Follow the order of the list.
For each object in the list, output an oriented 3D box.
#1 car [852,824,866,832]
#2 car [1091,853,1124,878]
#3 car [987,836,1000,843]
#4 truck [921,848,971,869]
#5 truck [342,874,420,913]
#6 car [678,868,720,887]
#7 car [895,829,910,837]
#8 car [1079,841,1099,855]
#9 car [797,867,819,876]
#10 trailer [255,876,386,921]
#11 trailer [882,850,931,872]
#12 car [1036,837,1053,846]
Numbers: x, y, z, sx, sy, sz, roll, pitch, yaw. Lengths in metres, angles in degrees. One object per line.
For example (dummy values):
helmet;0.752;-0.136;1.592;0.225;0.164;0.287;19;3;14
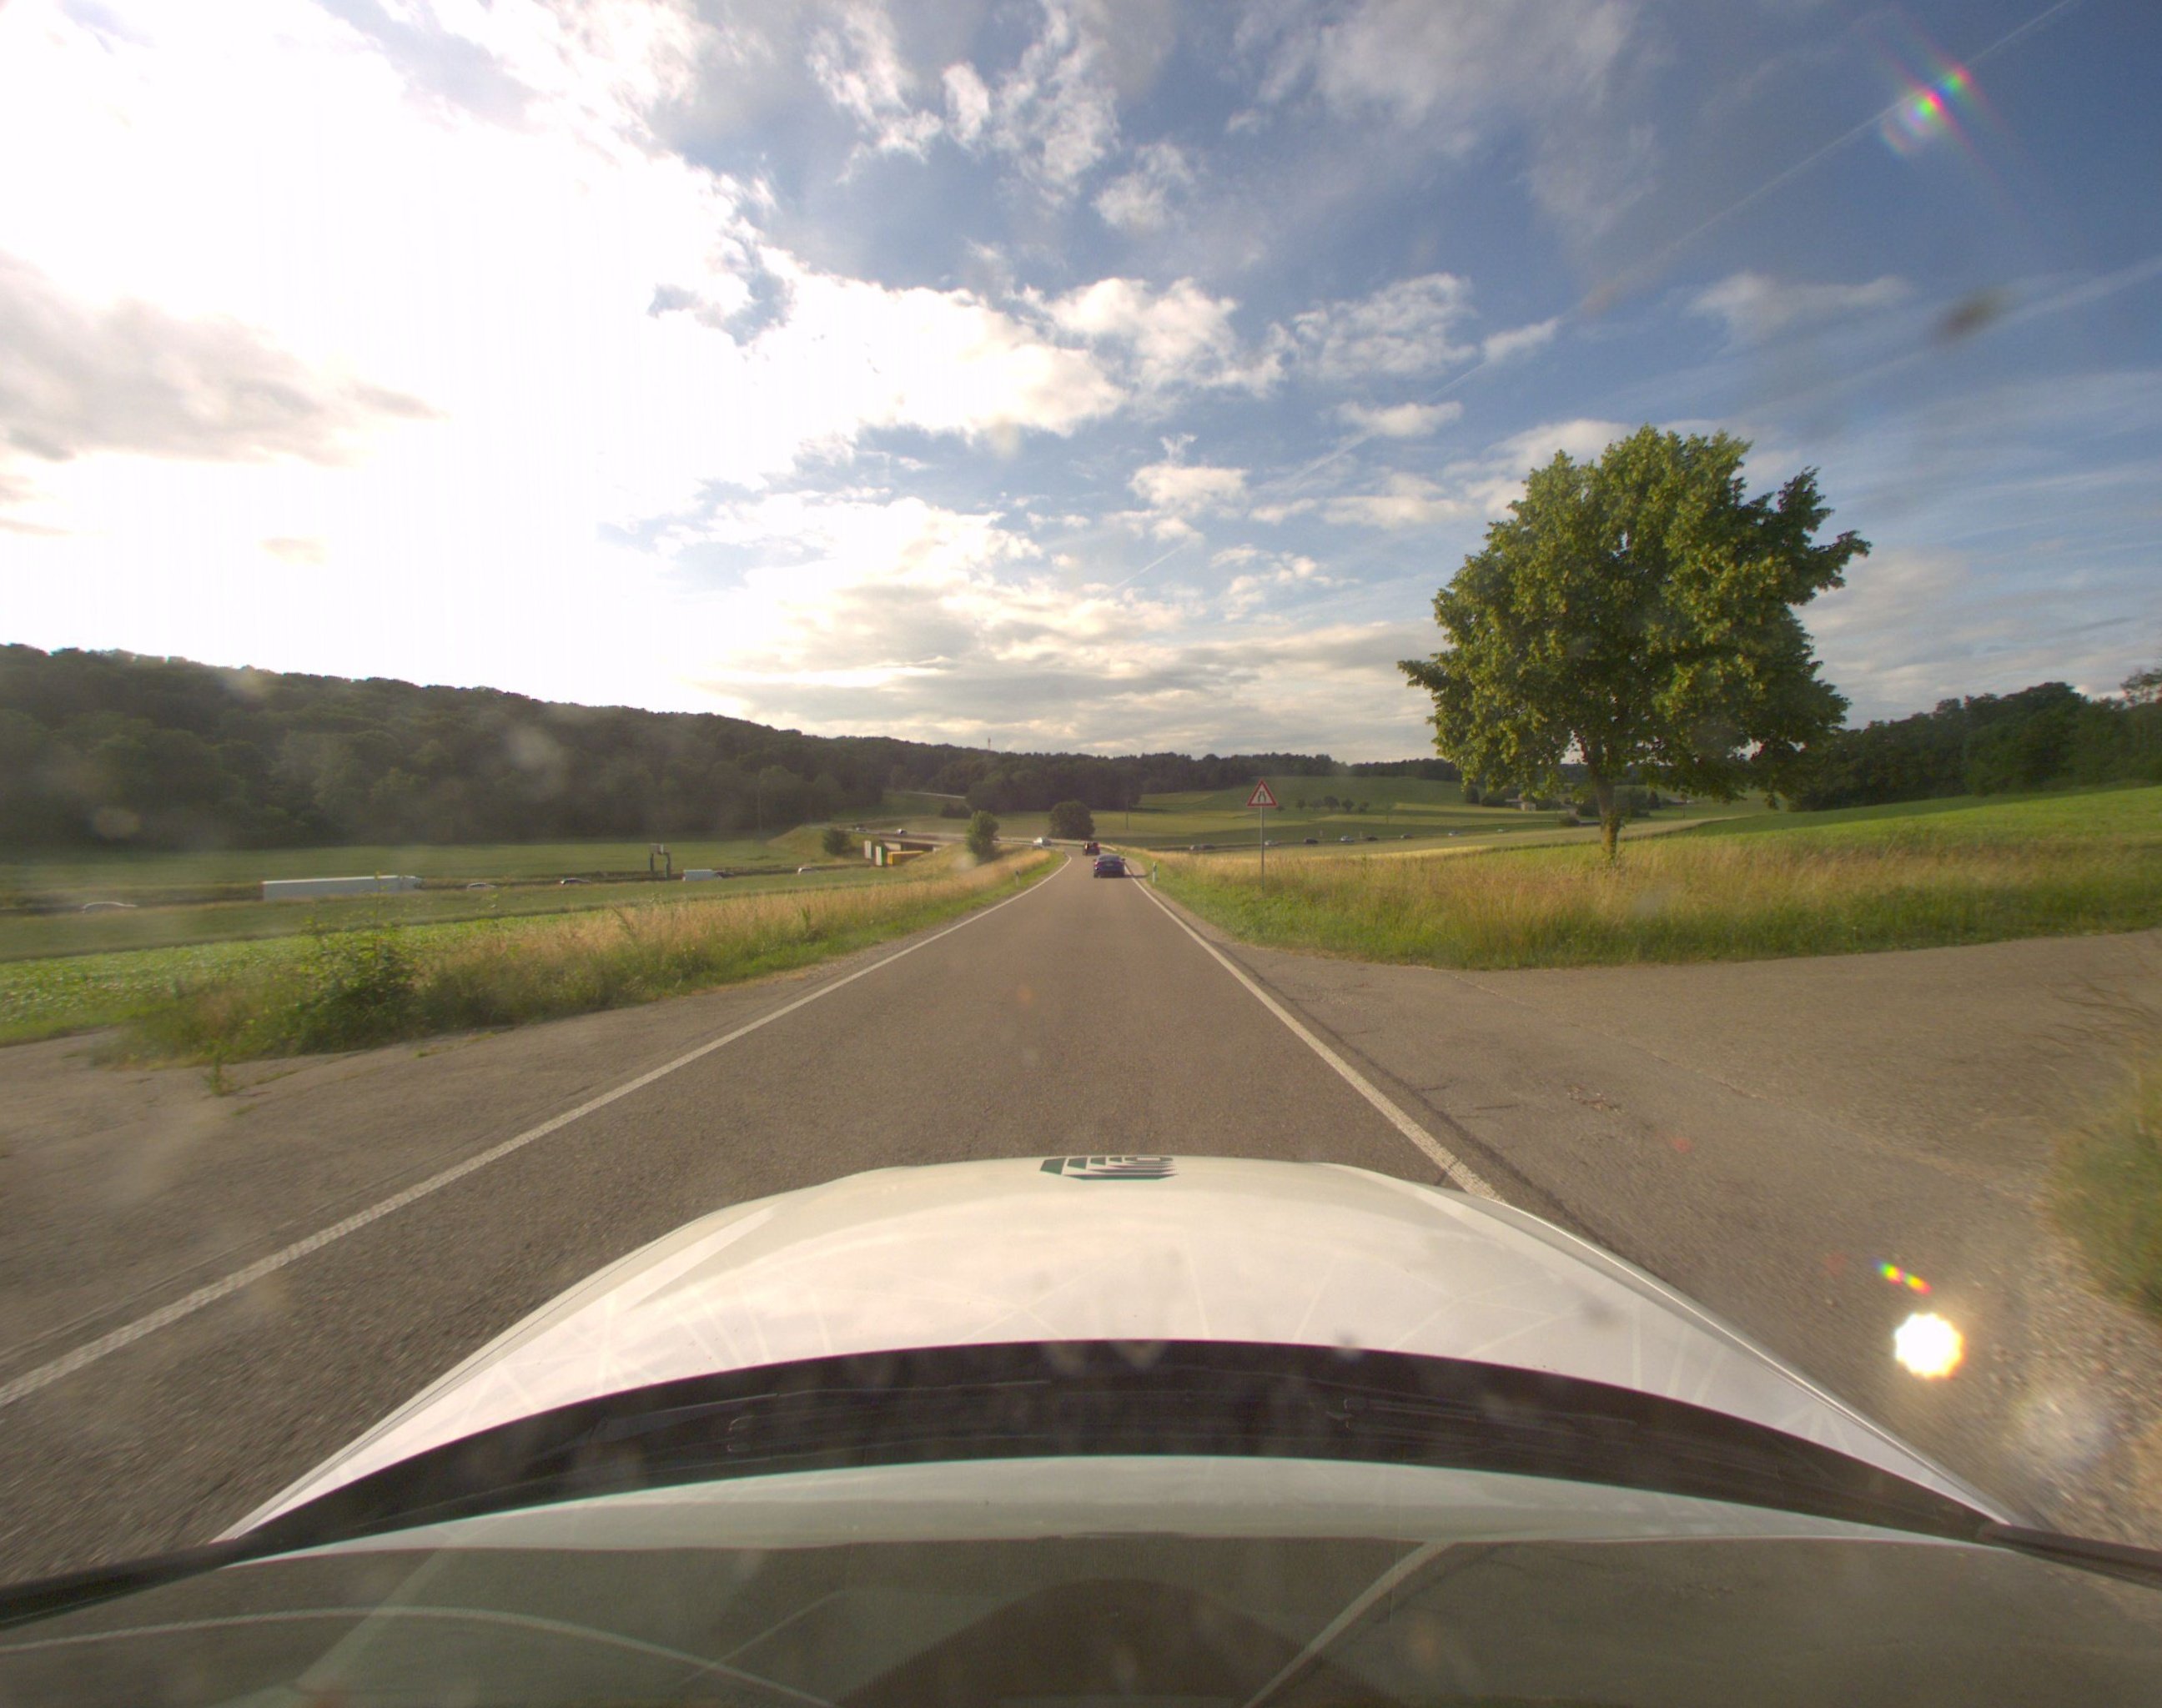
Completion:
car;-56.831;-6.715;208.520;2.009;1.771;3.956;-5;4;-36
car;1.591;0.650;48.775;1.812;1.339;4.352;-3;0;2
car;-16.464;-2.768;152.890;1.479;1.227;3.272;-3;3;-26
truck;-28.756;0.937;174.240;9.853;4.059;3.793;-3;2;-40
truck;-99.697;5.537;116.103;8.103;4.465;2.994;-5;8;-43
car;-67.462;4.104;143.865;6.158;2.582;2.346;-6;10;-42
car;-41.065;-4.935;187.511;2.008;1.678;4.134;1;3;-35
car;0.959;-0.675;97.898;1.860;1.568;3.991;-3;1;-7
car;-52.765;3.383;157.517;3.637;1.633;1.637;-3;0;-36
trailer;-104.159;5.974;111.942;12.801;4.465;2.997;-5;8;-43
trailer;-35.990;1.352;168.201;9.177;4.059;3.793;-3;2;-40
car;-6.026;-2.077;133.839;1.687;1.376;3.976;-2;1;-17
